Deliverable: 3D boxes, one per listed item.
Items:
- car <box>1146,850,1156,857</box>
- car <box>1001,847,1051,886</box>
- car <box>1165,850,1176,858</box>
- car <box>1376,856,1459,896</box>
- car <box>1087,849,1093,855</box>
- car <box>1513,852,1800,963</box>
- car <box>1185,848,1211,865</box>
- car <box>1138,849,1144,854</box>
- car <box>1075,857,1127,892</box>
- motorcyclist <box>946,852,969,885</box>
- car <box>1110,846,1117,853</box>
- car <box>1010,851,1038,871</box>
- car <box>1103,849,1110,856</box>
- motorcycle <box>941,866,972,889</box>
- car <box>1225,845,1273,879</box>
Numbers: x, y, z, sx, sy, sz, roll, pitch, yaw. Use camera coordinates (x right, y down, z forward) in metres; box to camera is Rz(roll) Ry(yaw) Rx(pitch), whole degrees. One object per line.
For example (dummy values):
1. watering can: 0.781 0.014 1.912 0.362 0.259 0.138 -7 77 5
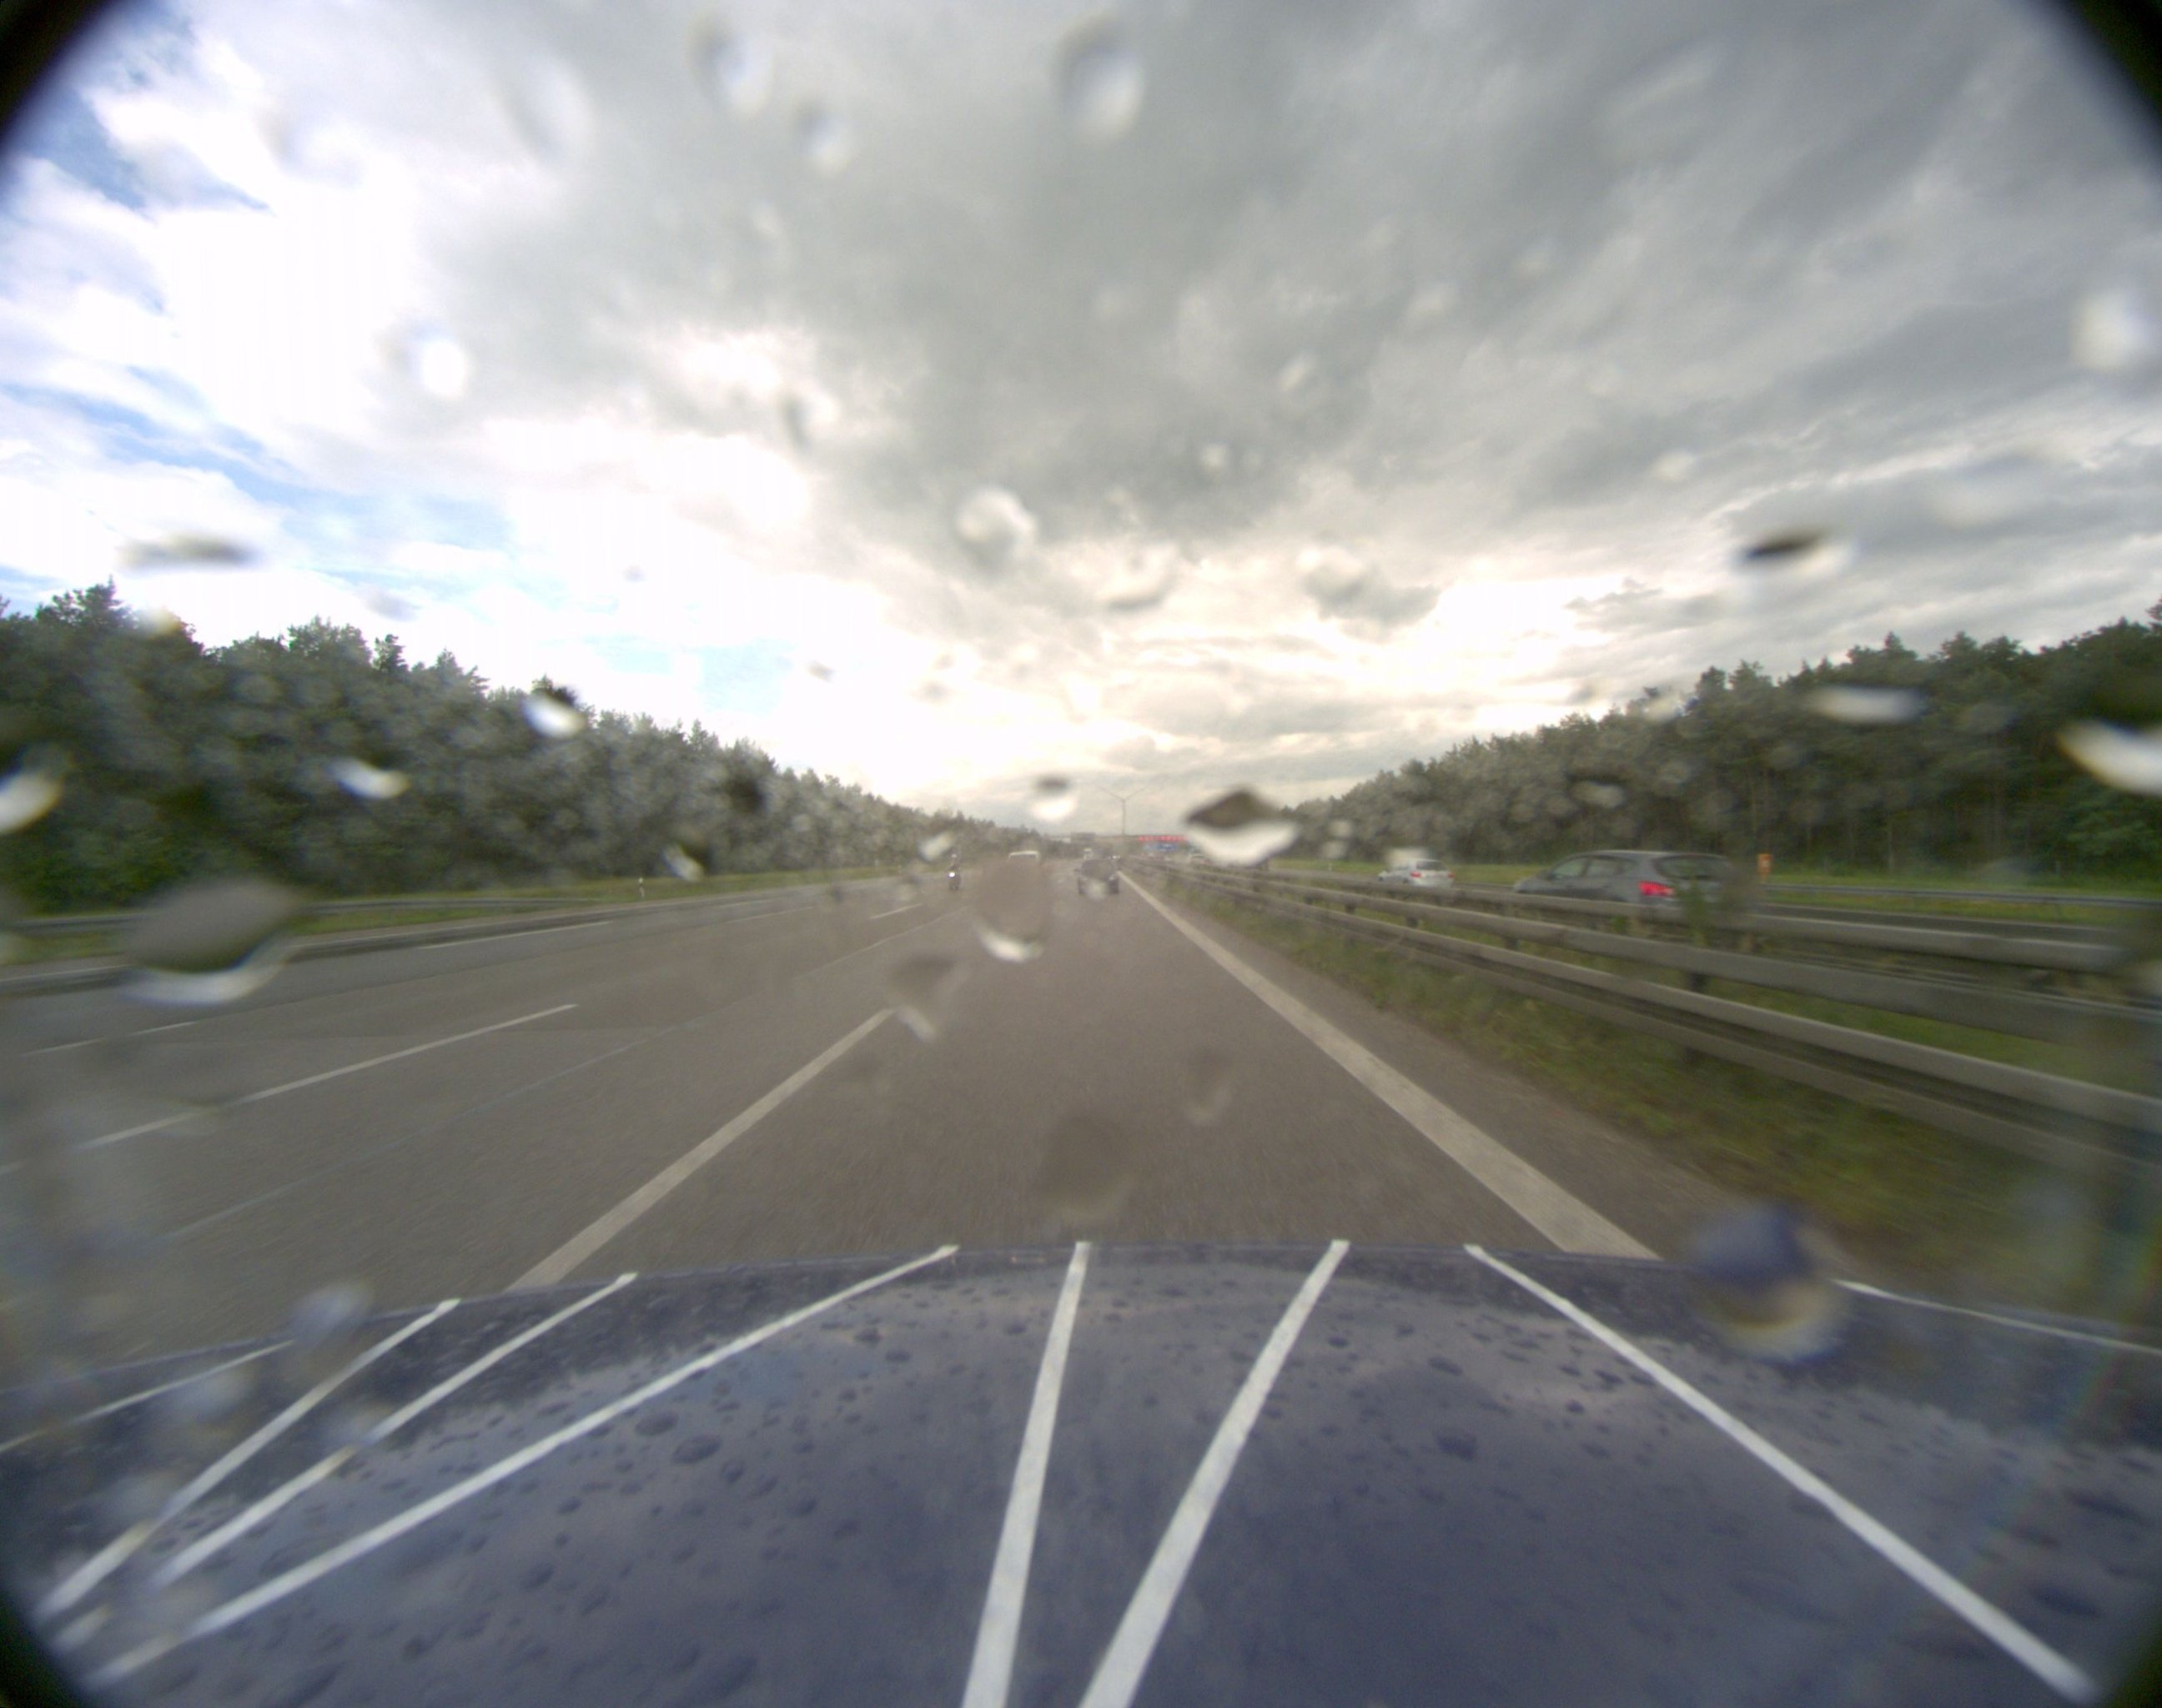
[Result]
1. car: 13.915 -0.088 151.067 1.732 1.381 4.092 1 1 0
2. car: -2.852 0.609 40.424 1.968 1.890 4.882 -2 0 4
3. car: 17.600 -0.041 149.640 1.732 1.472 3.999 0 1 0
4. car: 13.726 0.851 31.234 1.702 1.479 4.000 0 0 1
5. car: 3.079 -0.630 257.197 1.998 2.002 4.001 -1 0 3
6. car: 9.172 0.739 12.606 1.775 1.530 4.000 0 0 1
7. car: 11.162 0.223 72.807 1.864 1.579 4.490 -1 0 1
8. car: 19.939 -0.868 252.785 1.789 1.538 4.403 0 0 2
9. car: 0.899 0.814 31.683 1.809 1.321 4.433 0 0 6
10. motorcyclist: -6.119 0.717 37.606 0.893 1.605 0.959 -2 1 3
11. car: 11.165 -1.552 259.749 2.179 2.002 4.361 -3 1 0
12. car: -6.123 0.773 81.969 1.998 2.002 5.485 -2 0 6
13. car: 7.451 -0.452 221.735 1.832 1.838 3.999 -3 0 -1
14. motorcycle: -6.109 1.158 37.514 1.002 1.025 2.174 -2 0 4
15. car: 10.403 0.449 47.432 1.998 2.002 4.626 -1 1 1
